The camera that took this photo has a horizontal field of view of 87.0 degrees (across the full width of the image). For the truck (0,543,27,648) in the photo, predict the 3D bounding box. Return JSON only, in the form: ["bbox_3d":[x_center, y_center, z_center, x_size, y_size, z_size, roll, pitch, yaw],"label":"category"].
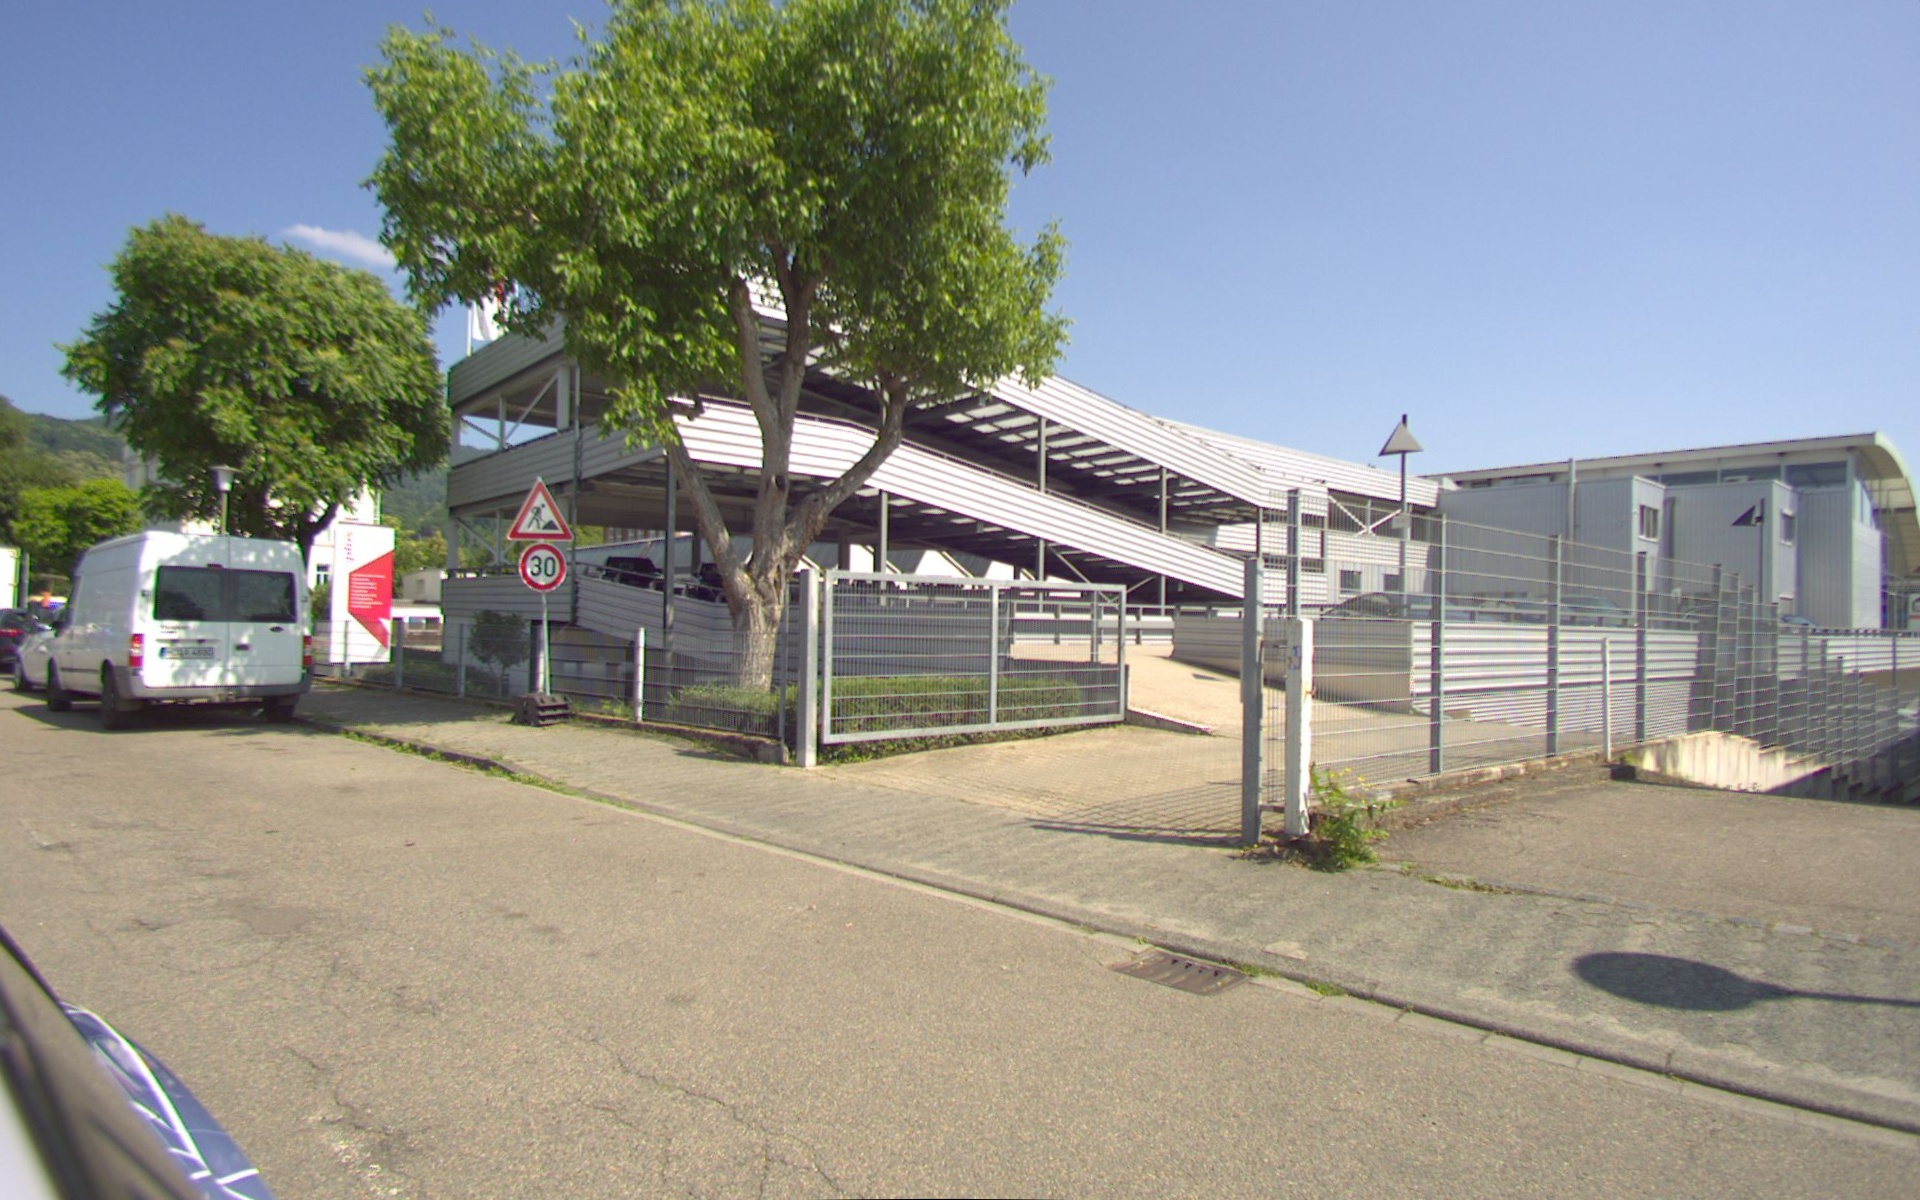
[{"bbox_3d":[-34.176,-0.220,34.399,7.125,3.392,2.658,1,-2,40],"label":"truck"}]

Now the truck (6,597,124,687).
[{"bbox_3d":[-17.505,0.791,19.752,3.137,1.634,1.127,0,-4,39],"label":"truck"}]

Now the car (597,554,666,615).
[{"bbox_3d":[-9.939,-0.494,30.823,1.787,1.684,4.012,2,1,-16],"label":"car"}]

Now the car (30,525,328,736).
[{"bbox_3d":[-10.797,0.393,13.834,5.224,2.384,1.985,0,-3,39],"label":"car"}]

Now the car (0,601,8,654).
[{"bbox_3d":[-29.566,0.751,29.975,4.311,1.533,1.722,0,-3,44],"label":"car"}]

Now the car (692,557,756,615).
[{"bbox_3d":[-7.706,-0.473,32.833,1.787,1.684,4.012,2,1,-16],"label":"car"}]

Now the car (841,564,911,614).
[{"bbox_3d":[-3.170,-0.436,37.530,1.787,1.684,4.012,2,1,-16],"label":"car"}]

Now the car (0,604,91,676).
[{"bbox_3d":[-21.157,0.855,22.780,4.110,1.474,1.687,0,-3,39],"label":"car"}]

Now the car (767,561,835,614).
[{"bbox_3d":[-5.552,-0.448,34.990,1.787,1.684,4.012,2,1,-16],"label":"car"}]

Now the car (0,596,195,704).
[{"bbox_3d":[-14.904,0.817,17.361,3.966,1.636,1.689,0,-4,36],"label":"car"}]
